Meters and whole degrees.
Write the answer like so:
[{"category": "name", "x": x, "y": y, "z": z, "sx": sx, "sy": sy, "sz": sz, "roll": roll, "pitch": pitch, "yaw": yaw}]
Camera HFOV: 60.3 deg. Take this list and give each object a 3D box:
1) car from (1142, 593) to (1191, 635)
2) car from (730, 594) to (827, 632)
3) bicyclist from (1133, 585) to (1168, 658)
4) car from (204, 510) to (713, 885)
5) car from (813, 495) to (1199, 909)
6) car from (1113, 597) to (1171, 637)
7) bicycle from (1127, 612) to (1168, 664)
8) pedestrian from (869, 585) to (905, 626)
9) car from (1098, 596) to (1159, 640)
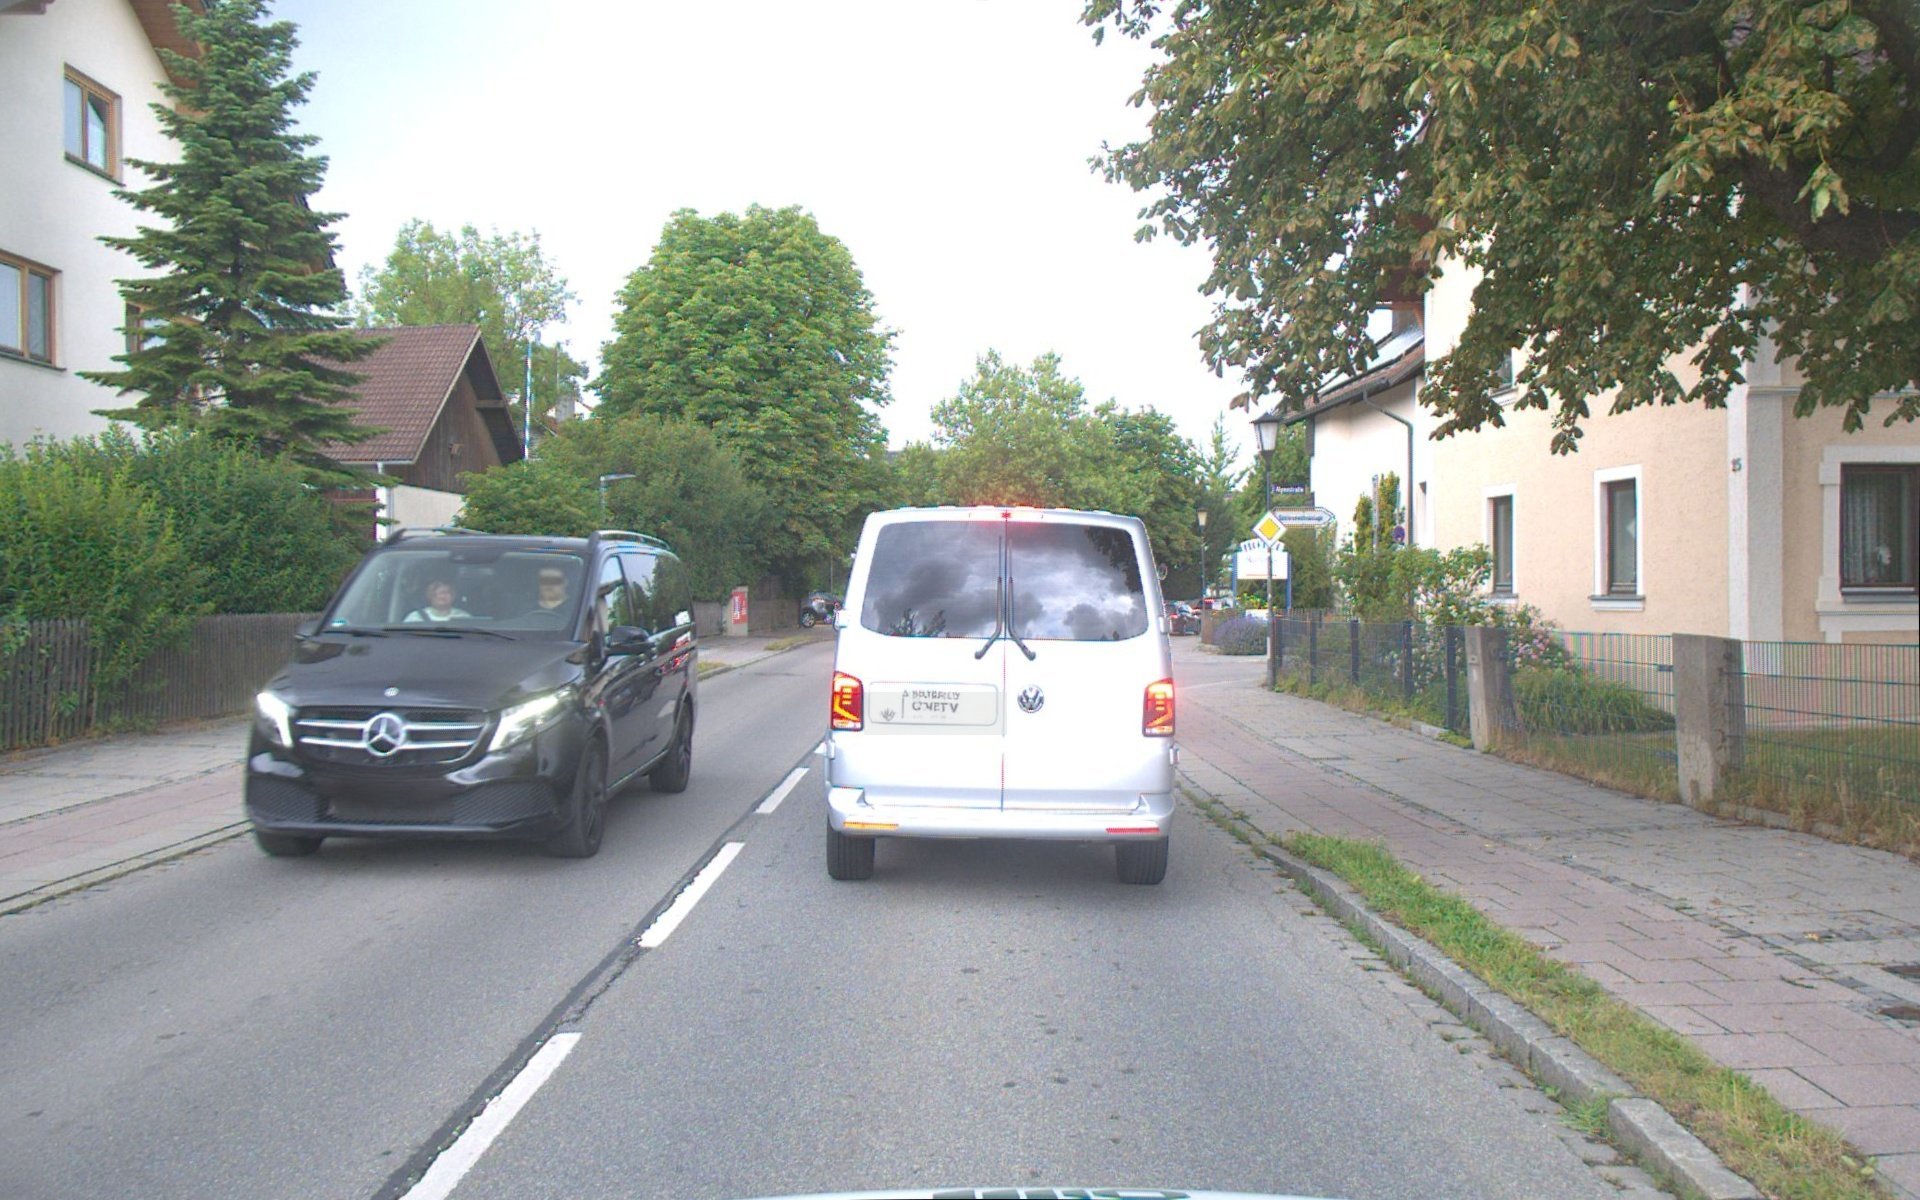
[{"category": "car", "x": 9.160, "y": 0.600, "z": 73.221, "sx": 1.841, "sy": 1.779, "sz": 4.084, "roll": 0, "pitch": 0, "yaw": 12}, {"category": "car", "x": -7.478, "y": 0.508, "z": 67.894, "sx": 3.913, "sy": 1.512, "sz": 1.996, "roll": 0, "pitch": 0, "yaw": -9}, {"category": "bicyclist", "x": 4.398, "y": 0.489, "z": 38.257, "sx": 0.721, "sy": 1.661, "sz": 0.890, "roll": 0, "pitch": 0, "yaw": 1}, {"category": "car", "x": -2.950, "y": 0.500, "z": 10.994, "sx": 1.925, "sy": 1.885, "sz": 4.946, "roll": 2, "pitch": 0, "yaw": -1}, {"category": "car", "x": 0.230, "y": 0.483, "z": 9.853, "sx": 1.842, "sy": 1.974, "sz": 3.920, "roll": 0, "pitch": 0, "yaw": 0}, {"category": "car", "x": 7.325, "y": 0.662, "z": 66.177, "sx": 1.841, "sy": 1.562, "sz": 3.924, "roll": 0, "pitch": 0, "yaw": 13}, {"category": "bicycle", "x": 4.326, "y": 0.859, "z": 38.208, "sx": 0.749, "sy": 1.163, "sz": 1.845, "roll": 0, "pitch": 0, "yaw": 0}, {"category": "pedestrian", "x": -3.266, "y": 0.238, "z": 73.521, "sx": 1.302, "sy": 1.834, "sz": 1.061, "roll": 0, "pitch": 0, "yaw": -25}, {"category": "car", "x": 6.159, "y": 0.629, "z": 60.292, "sx": 1.841, "sy": 1.562, "sz": 3.924, "roll": 0, "pitch": 0, "yaw": 11}]
